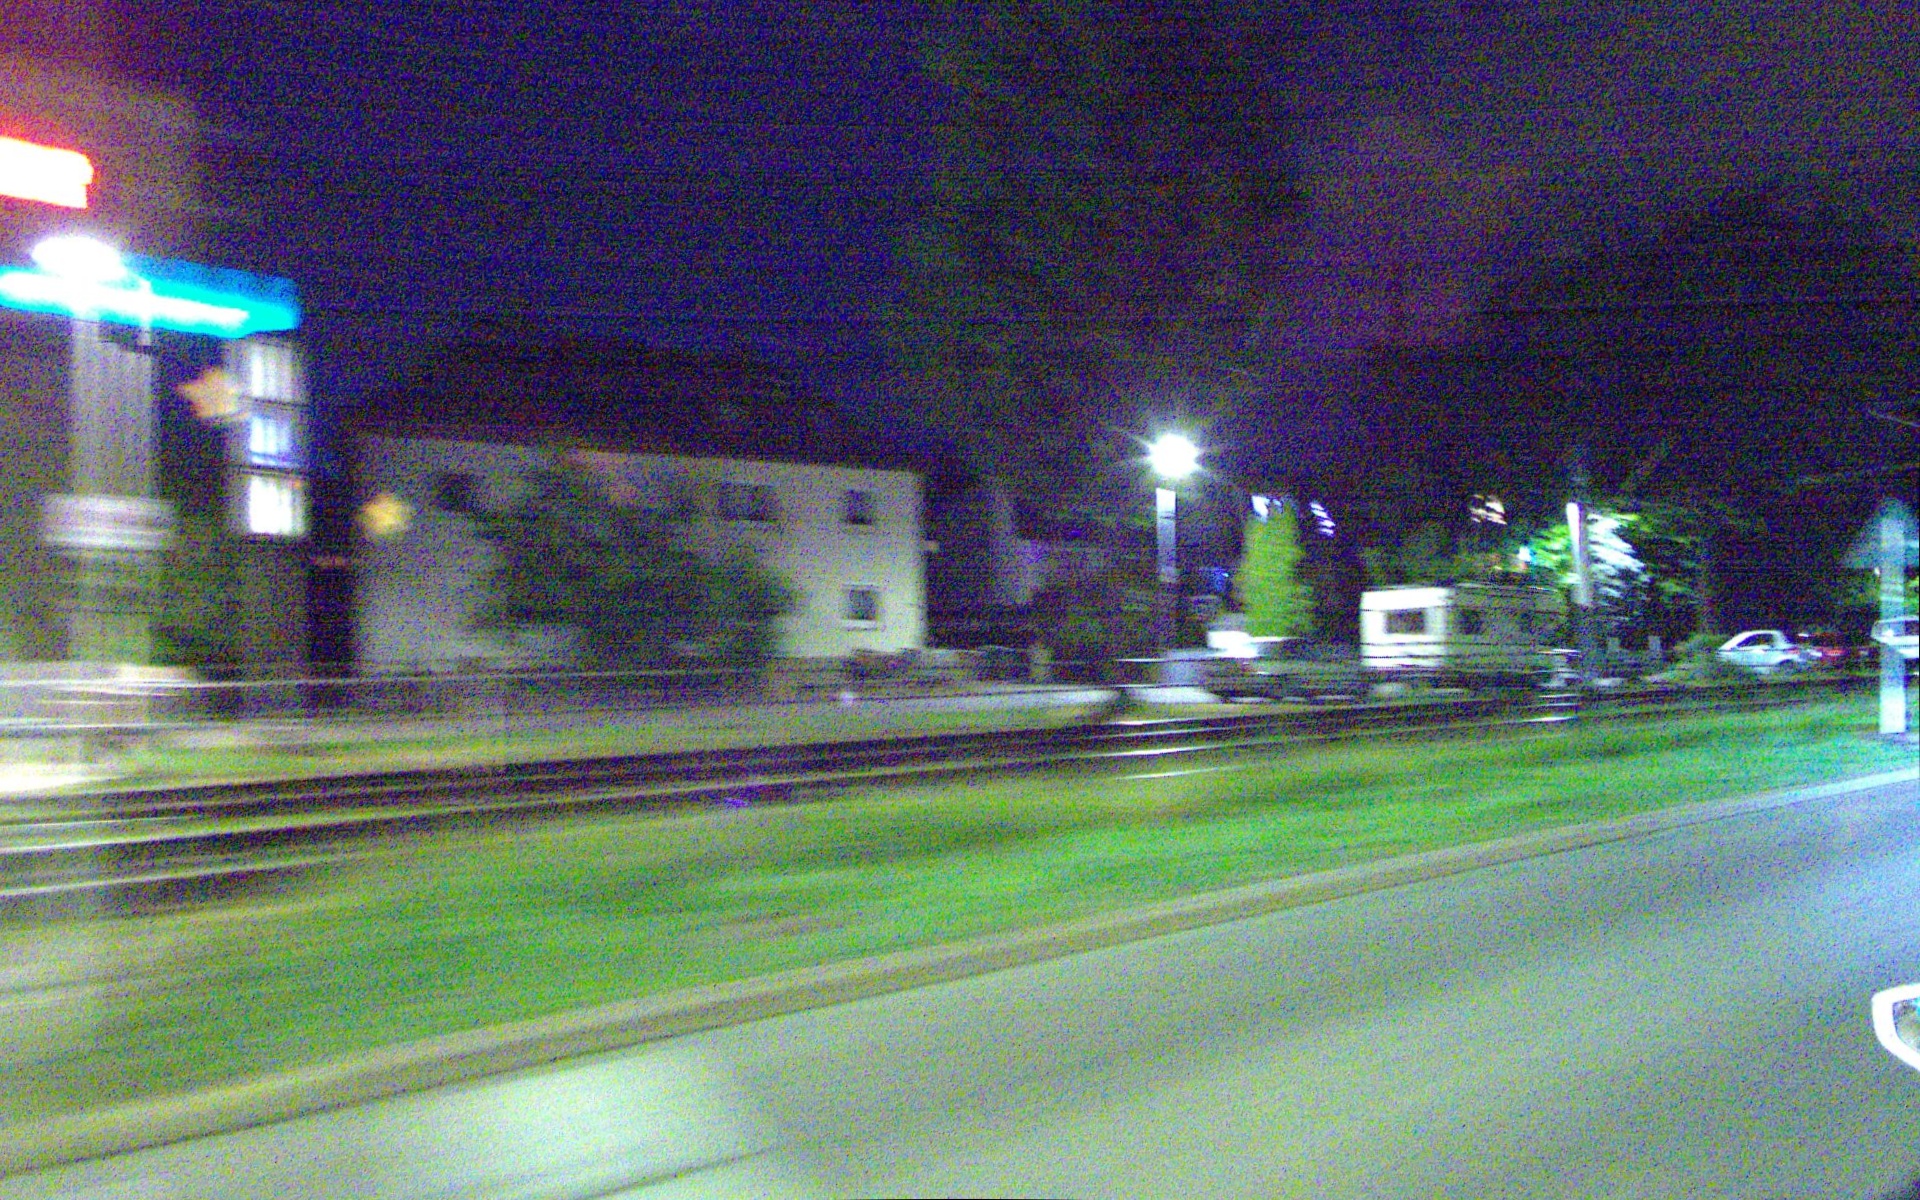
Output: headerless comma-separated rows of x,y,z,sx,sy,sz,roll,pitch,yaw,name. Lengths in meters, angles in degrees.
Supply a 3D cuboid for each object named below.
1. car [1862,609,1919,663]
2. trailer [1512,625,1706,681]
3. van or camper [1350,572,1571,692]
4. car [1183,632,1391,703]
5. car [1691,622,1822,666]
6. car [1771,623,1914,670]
35.969,1.338,37.683,4.824,1.929,1.848,1,-2,-31,car
18.318,1.502,28.379,4.589,1.392,2.415,0,-6,-24,trailer
12.475,0.823,24.936,5.602,2.681,2.261,1,-4,-33,van or camper
7.126,1.449,21.772,4.488,1.356,1.640,0,-6,-29,car
25.748,1.406,32.539,1.517,1.343,3.012,1,-2,-32,car
30.662,1.566,34.871,5.102,1.542,1.896,1,-2,-26,car
